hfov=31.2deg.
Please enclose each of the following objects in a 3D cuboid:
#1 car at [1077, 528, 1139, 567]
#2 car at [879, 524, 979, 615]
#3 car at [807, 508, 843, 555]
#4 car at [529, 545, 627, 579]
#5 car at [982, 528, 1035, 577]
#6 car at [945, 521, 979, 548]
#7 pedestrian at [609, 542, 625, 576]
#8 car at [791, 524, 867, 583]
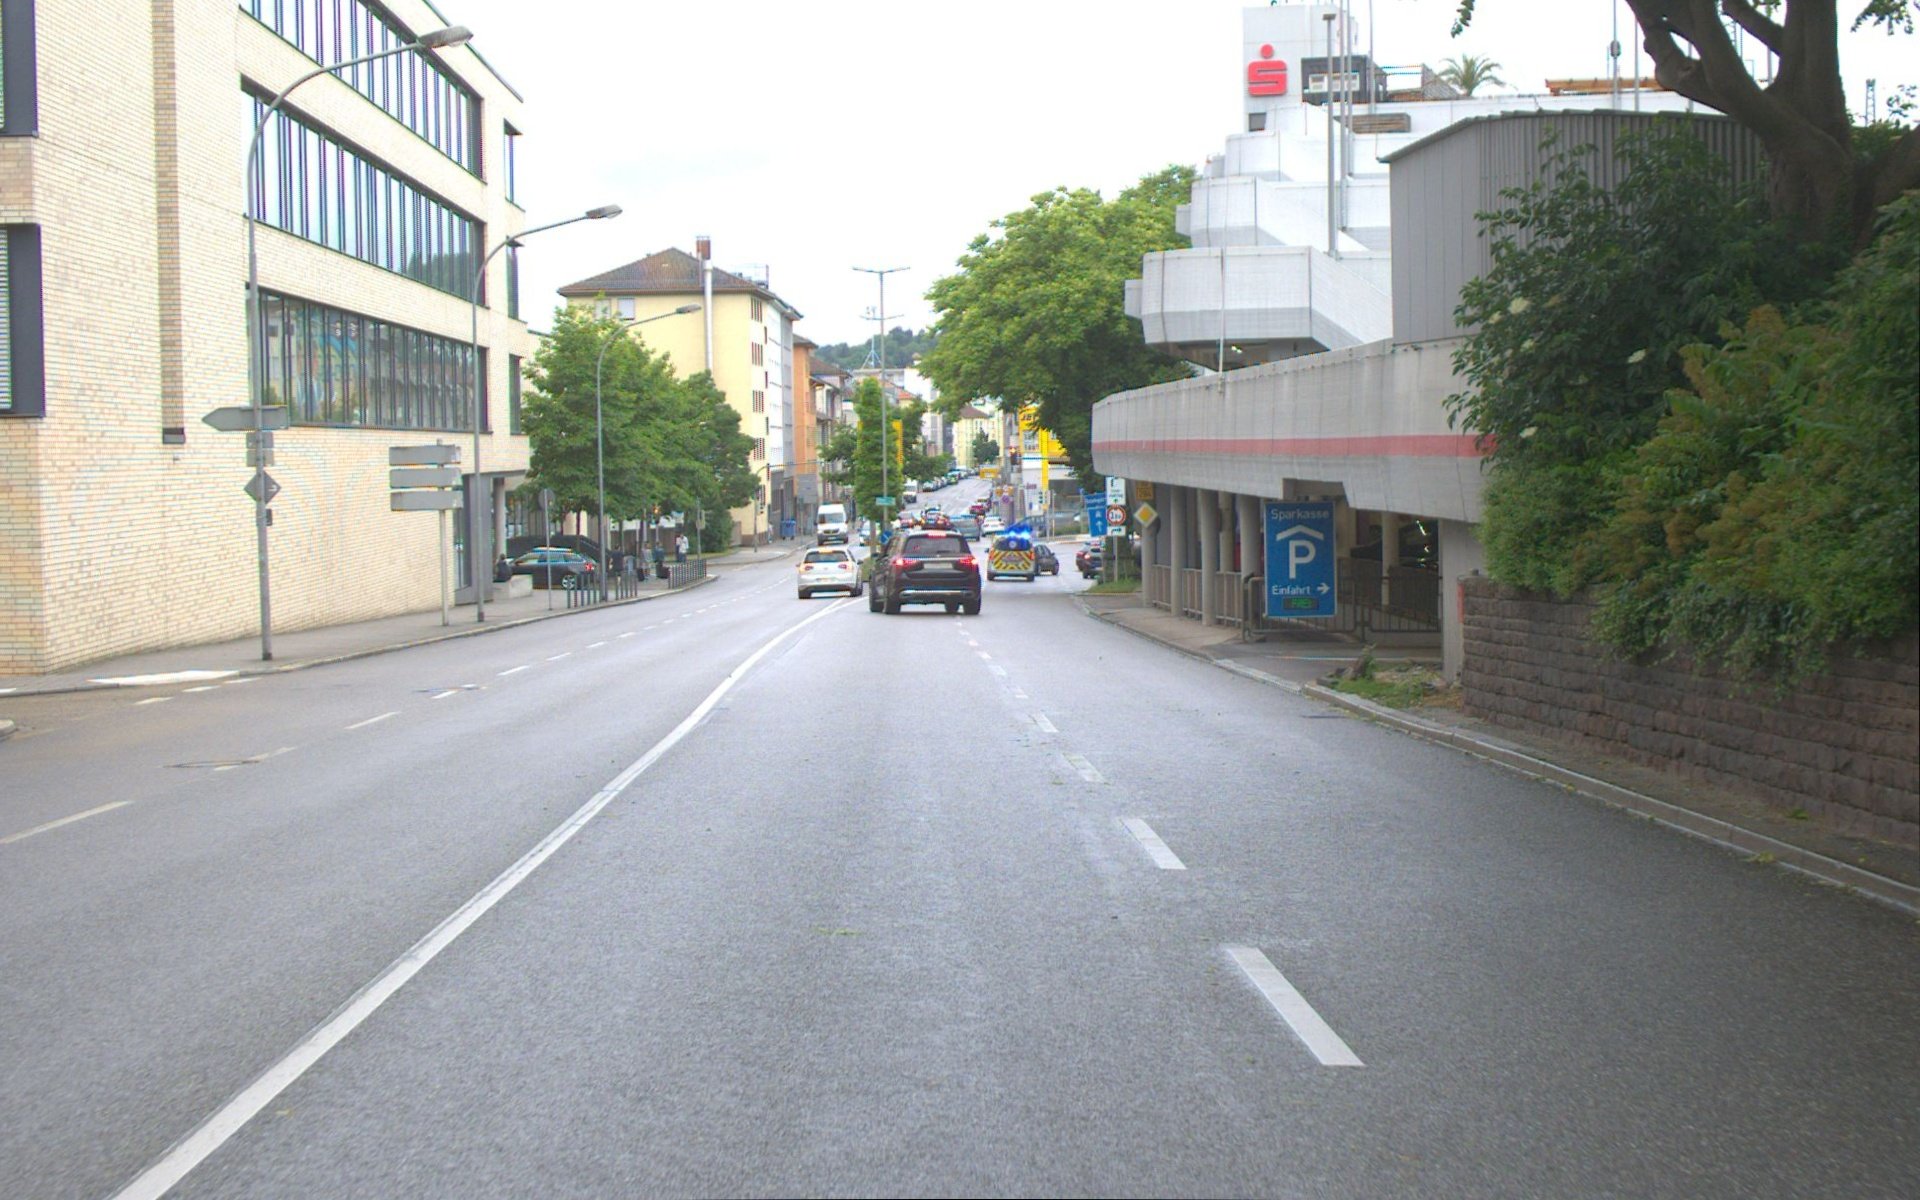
[{"bbox_3d":[6.541,-2.304,151.495,1.995,1.674,3.998,0,1,13],"label":"car"},{"bbox_3d":[-0.648,-0.685,74.413,2.091,1.904,4.100,0,1,0],"label":"car"},{"bbox_3d":[-9.127,-4.634,231.380,2.183,3.087,4.932,-1,1,-5],"label":"car"},{"bbox_3d":[-14.356,-1.444,129.231,3.654,1.230,1.441,-1,1,-6],"label":"car"},{"bbox_3d":[1.995,-1.993,142.668,2.173,1.997,4.000,-1,1,0],"label":"car"},{"bbox_3d":[0.113,-4.306,225.855,1.993,1.674,4.001,-1,2,-4],"label":"car"},{"bbox_3d":[-12.796,-1.539,128.167,0.454,1.274,0.454,-1,1,10],"label":"pedestrian"},{"bbox_3d":[-3.868,-1.375,101.052,1.993,1.674,4.001,-1,1,-5],"label":"car"}]
